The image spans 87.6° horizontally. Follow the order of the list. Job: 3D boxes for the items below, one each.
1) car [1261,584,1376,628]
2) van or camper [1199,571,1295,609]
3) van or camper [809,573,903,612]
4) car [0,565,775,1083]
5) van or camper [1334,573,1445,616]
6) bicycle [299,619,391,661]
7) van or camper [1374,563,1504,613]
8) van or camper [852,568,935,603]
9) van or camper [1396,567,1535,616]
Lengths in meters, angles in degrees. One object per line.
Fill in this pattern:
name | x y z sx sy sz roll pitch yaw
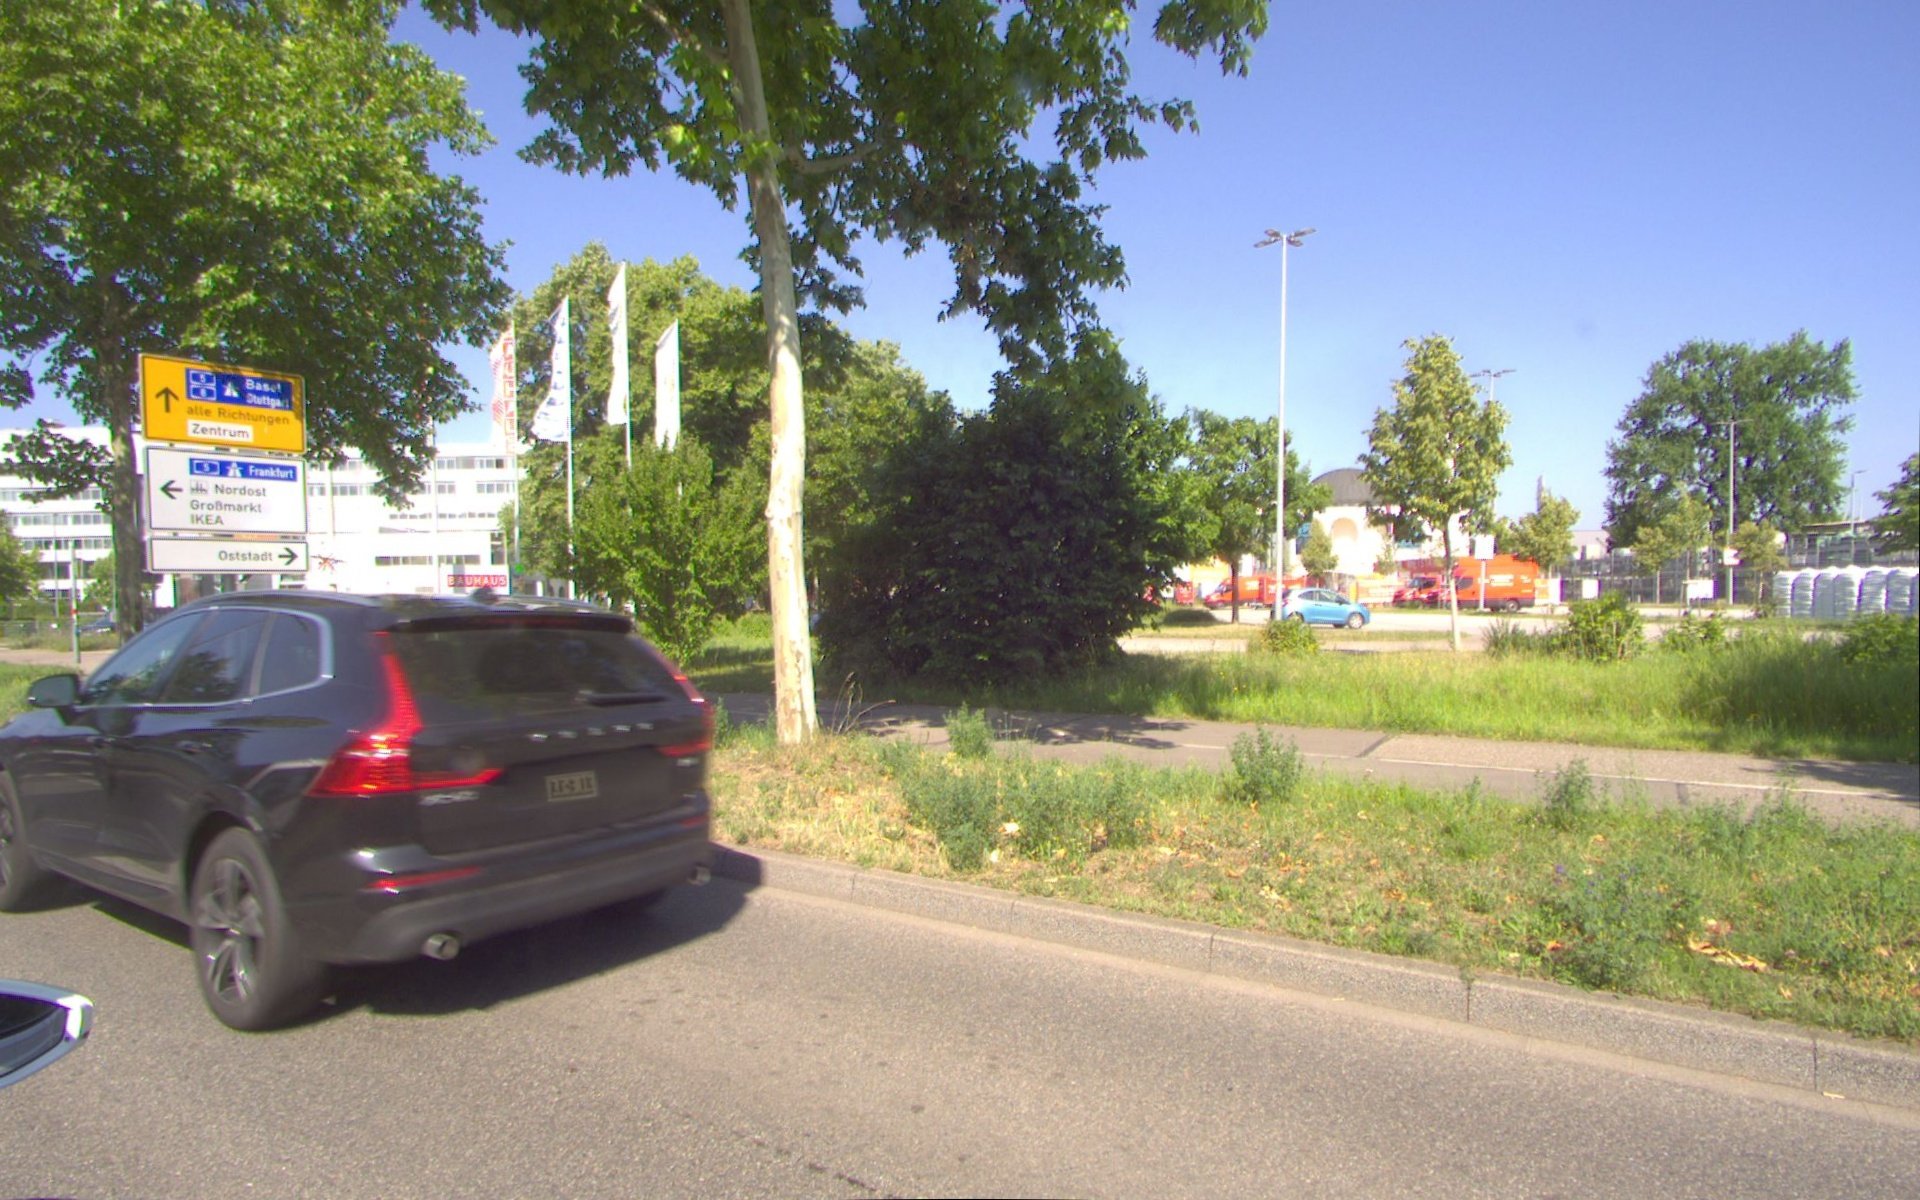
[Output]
car | 13.214 0.231 37.029 3.580 1.561 1.753 0 -2 -3
van or camper | 22.999 -0.784 80.311 7.145 2.979 2.001 0 -1 -2
van or camper | -8.097 -0.549 78.345 7.145 2.979 2.001 0 -1 -2
car | -3.207 0.770 5.102 4.371 1.611 1.872 -1 -2 32
van or camper | 30.721 -0.393 71.750 7.145 2.979 2.001 0 -1 -2
bicycle | -16.350 1.037 26.648 1.985 1.027 0.615 -1 1 -41
van or camper | 29.735 -0.731 62.265 7.145 2.979 2.001 0 -1 -2
van or camper | -5.749 -1.274 87.458 7.145 2.979 2.001 0 -1 -2
van or camper | 29.458 -0.477 58.516 7.145 2.739 2.001 0 -1 -2
